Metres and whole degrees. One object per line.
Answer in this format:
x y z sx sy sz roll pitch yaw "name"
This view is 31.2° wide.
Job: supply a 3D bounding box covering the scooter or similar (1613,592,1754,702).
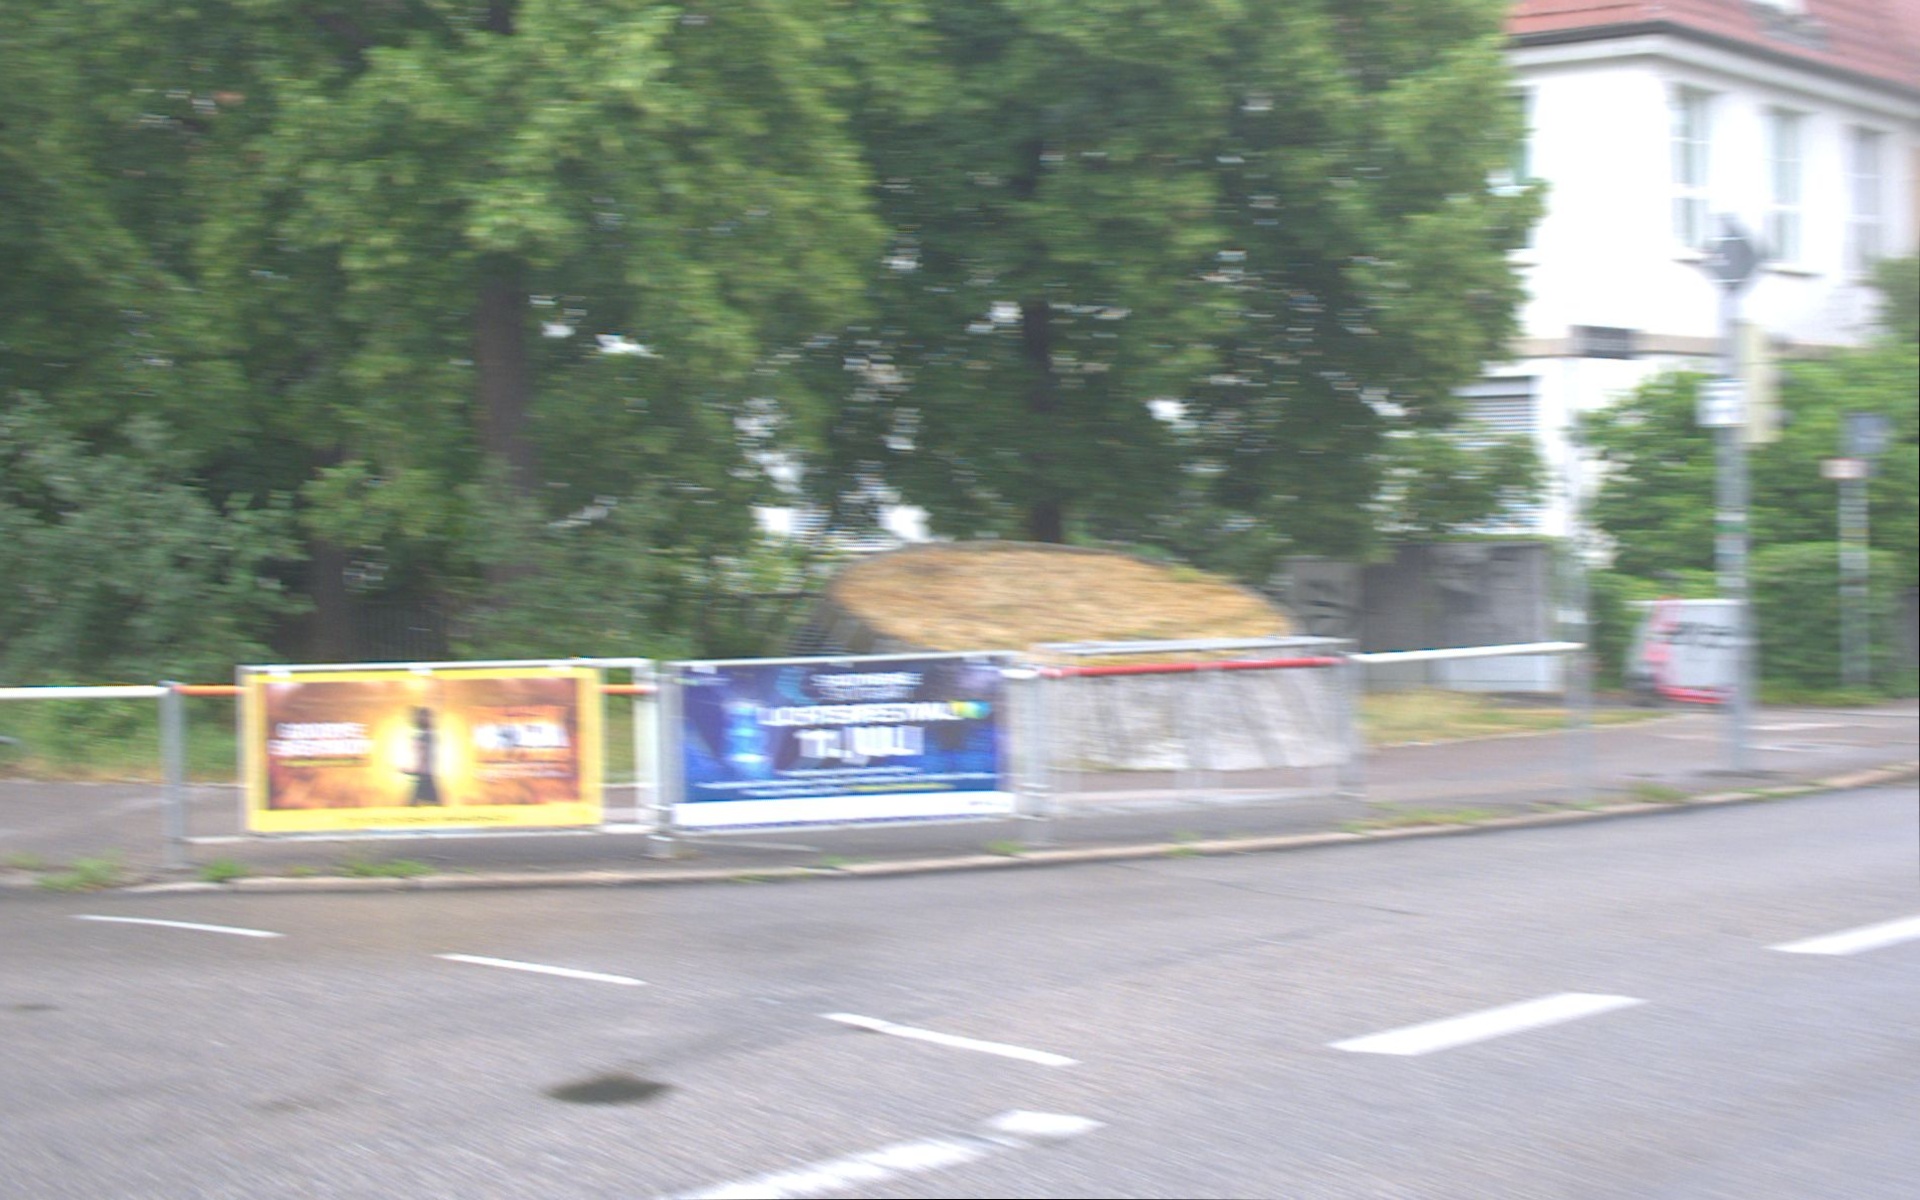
6.421 0.415 30.531 1.085 0.951 0.539 1 1 -19 "scooter or similar"
